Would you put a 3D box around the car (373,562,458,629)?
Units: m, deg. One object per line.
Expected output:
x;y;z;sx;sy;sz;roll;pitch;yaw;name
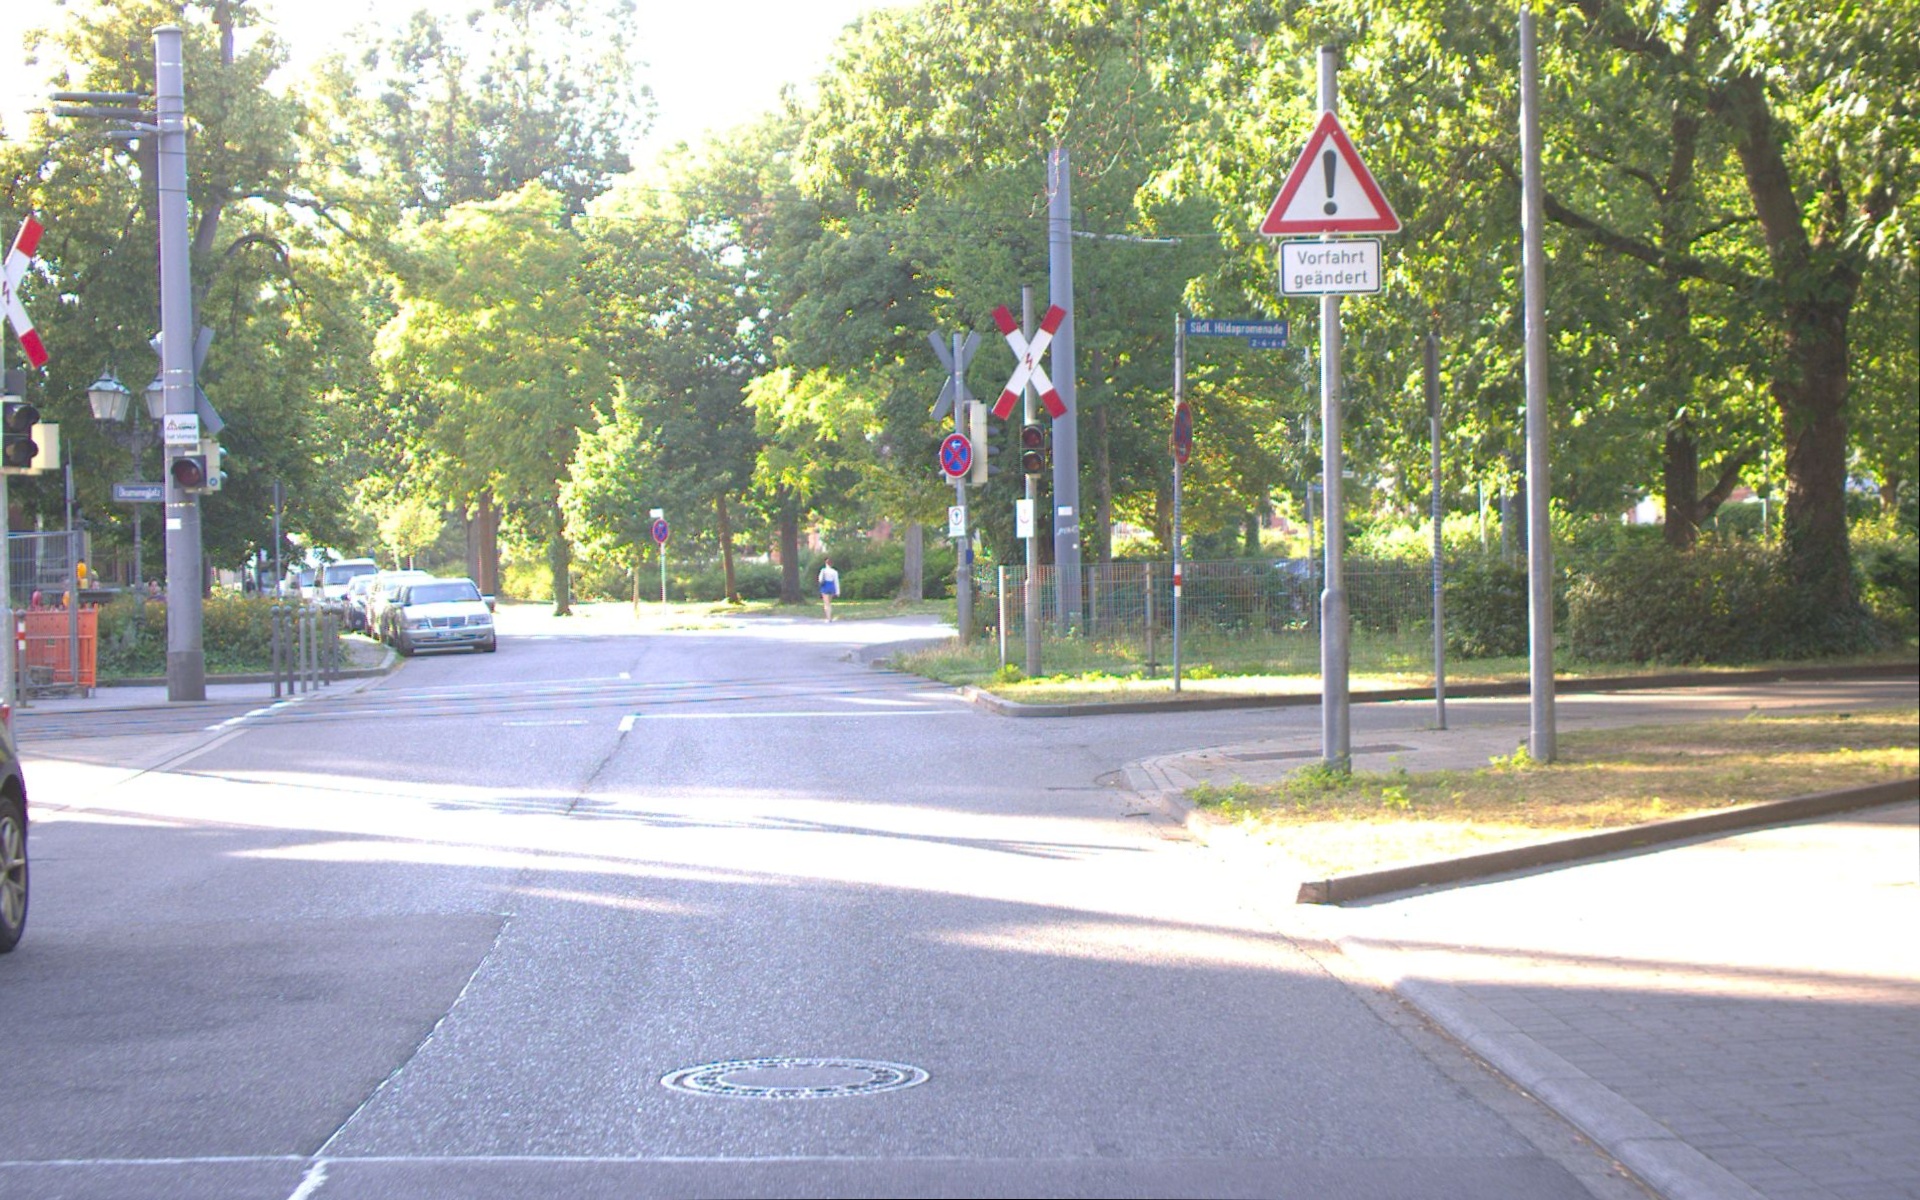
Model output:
-12.489;-0.111;78.676;1.612;1.435;3.607;-2;1;-13;car

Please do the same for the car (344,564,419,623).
-15.188;-0.184;90.174;1.615;1.496;3.698;-1;1;-15;car

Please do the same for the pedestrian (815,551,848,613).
-3.279;-0.463;87.936;0.773;1.569;0.768;-1;1;-5;pedestrian

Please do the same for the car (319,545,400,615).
-17.209;-0.586;98.354;1.850;1.939;4.842;-1;1;-15;car

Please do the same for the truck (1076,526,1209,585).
9.509;-2.304;180.328;2.604;3.019;8.008;-1;1;-34;truck

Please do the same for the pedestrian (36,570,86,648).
-14.391;0.136;55.036;0.551;1.228;0.725;-1;1;3;pedestrian

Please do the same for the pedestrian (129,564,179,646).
-12.956;0.083;55.263;0.551;1.293;0.766;-1;1;3;pedestrian

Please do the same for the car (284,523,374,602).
-19.363;-1.137;105.294;1.850;2.348;5.187;-1;1;-20;car

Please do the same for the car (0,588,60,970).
-4.519;0.714;11.789;1.743;1.443;4.208;-1;1;0;car

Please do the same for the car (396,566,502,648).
-9.762;0.107;65.448;1.779;1.411;4.499;-3;1;-10;car

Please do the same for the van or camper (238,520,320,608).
-23.333;-1.216;117.601;2.089;2.898;6.334;-1;1;-17;van or camper
